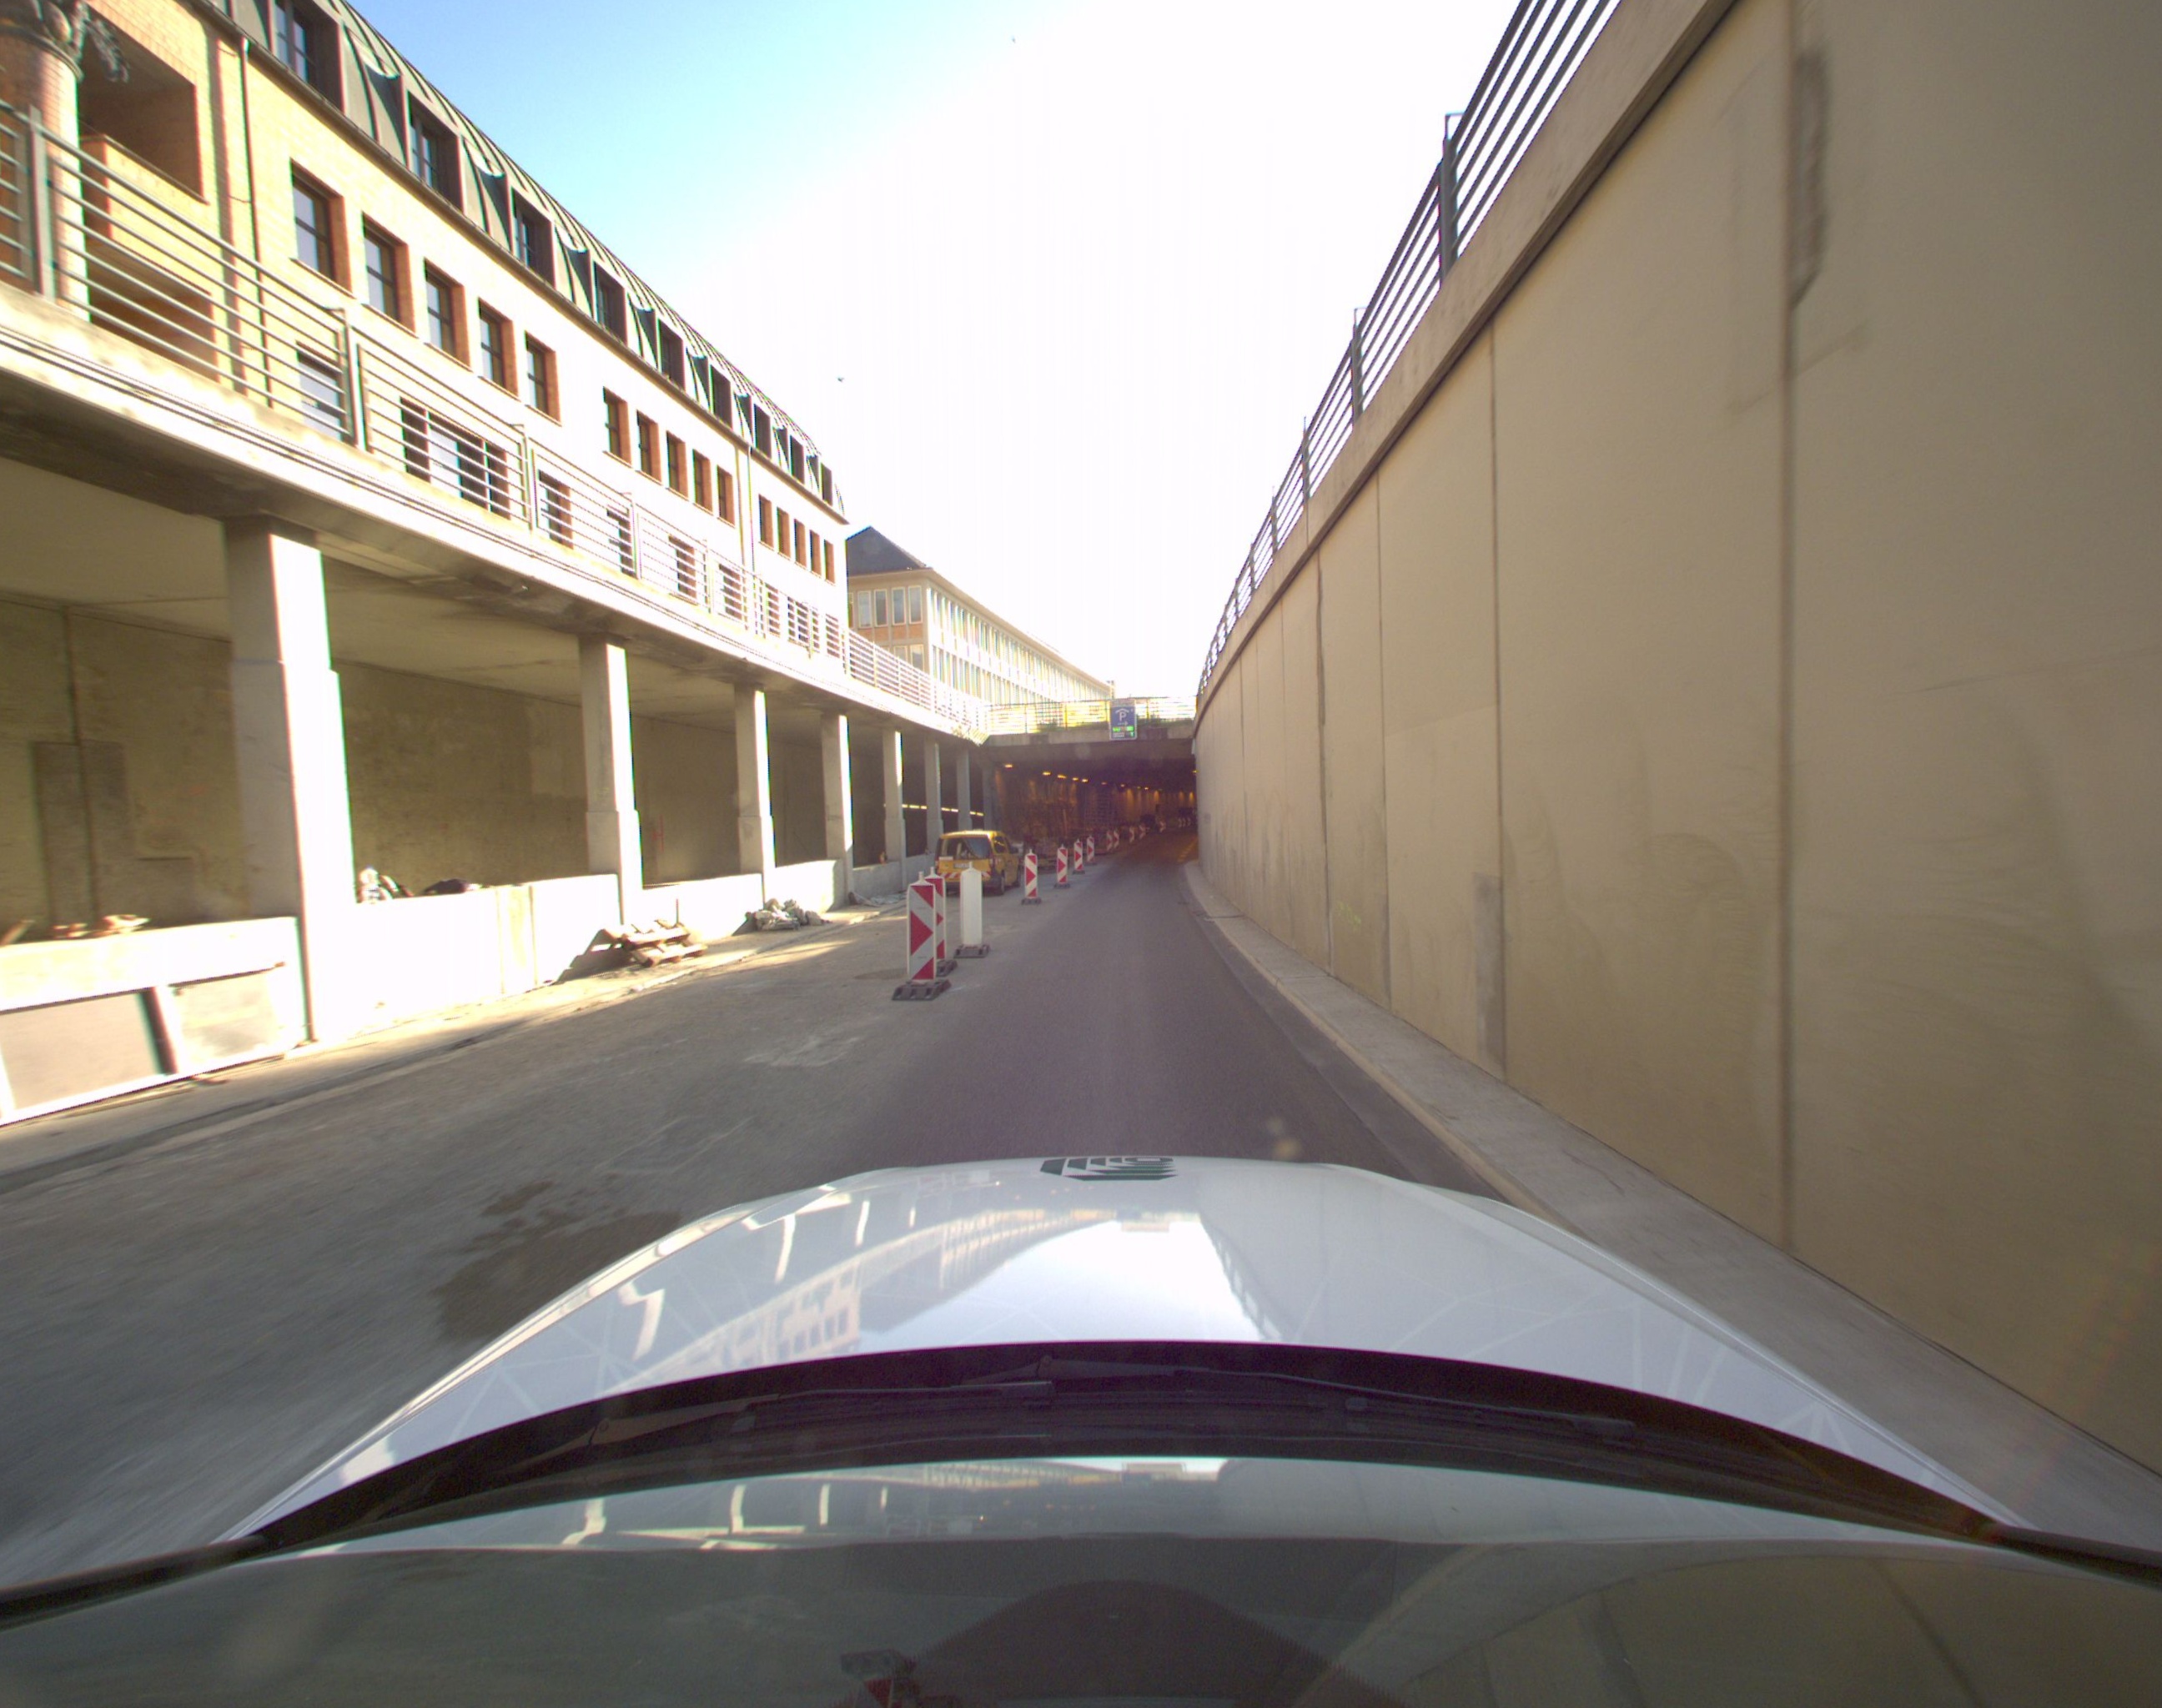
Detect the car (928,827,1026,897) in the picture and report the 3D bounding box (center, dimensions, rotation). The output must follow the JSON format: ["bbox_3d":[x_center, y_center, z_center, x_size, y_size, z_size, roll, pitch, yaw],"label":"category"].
[{"bbox_3d":[-2.888,0.141,23.603,1.839,1.775,4.442,-1,2,5],"label":"car"}]

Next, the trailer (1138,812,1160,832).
[{"bbox_3d":[6.204,-2.915,73.741,1.570,1.797,2.950,0,3,12],"label":"trailer"}]
